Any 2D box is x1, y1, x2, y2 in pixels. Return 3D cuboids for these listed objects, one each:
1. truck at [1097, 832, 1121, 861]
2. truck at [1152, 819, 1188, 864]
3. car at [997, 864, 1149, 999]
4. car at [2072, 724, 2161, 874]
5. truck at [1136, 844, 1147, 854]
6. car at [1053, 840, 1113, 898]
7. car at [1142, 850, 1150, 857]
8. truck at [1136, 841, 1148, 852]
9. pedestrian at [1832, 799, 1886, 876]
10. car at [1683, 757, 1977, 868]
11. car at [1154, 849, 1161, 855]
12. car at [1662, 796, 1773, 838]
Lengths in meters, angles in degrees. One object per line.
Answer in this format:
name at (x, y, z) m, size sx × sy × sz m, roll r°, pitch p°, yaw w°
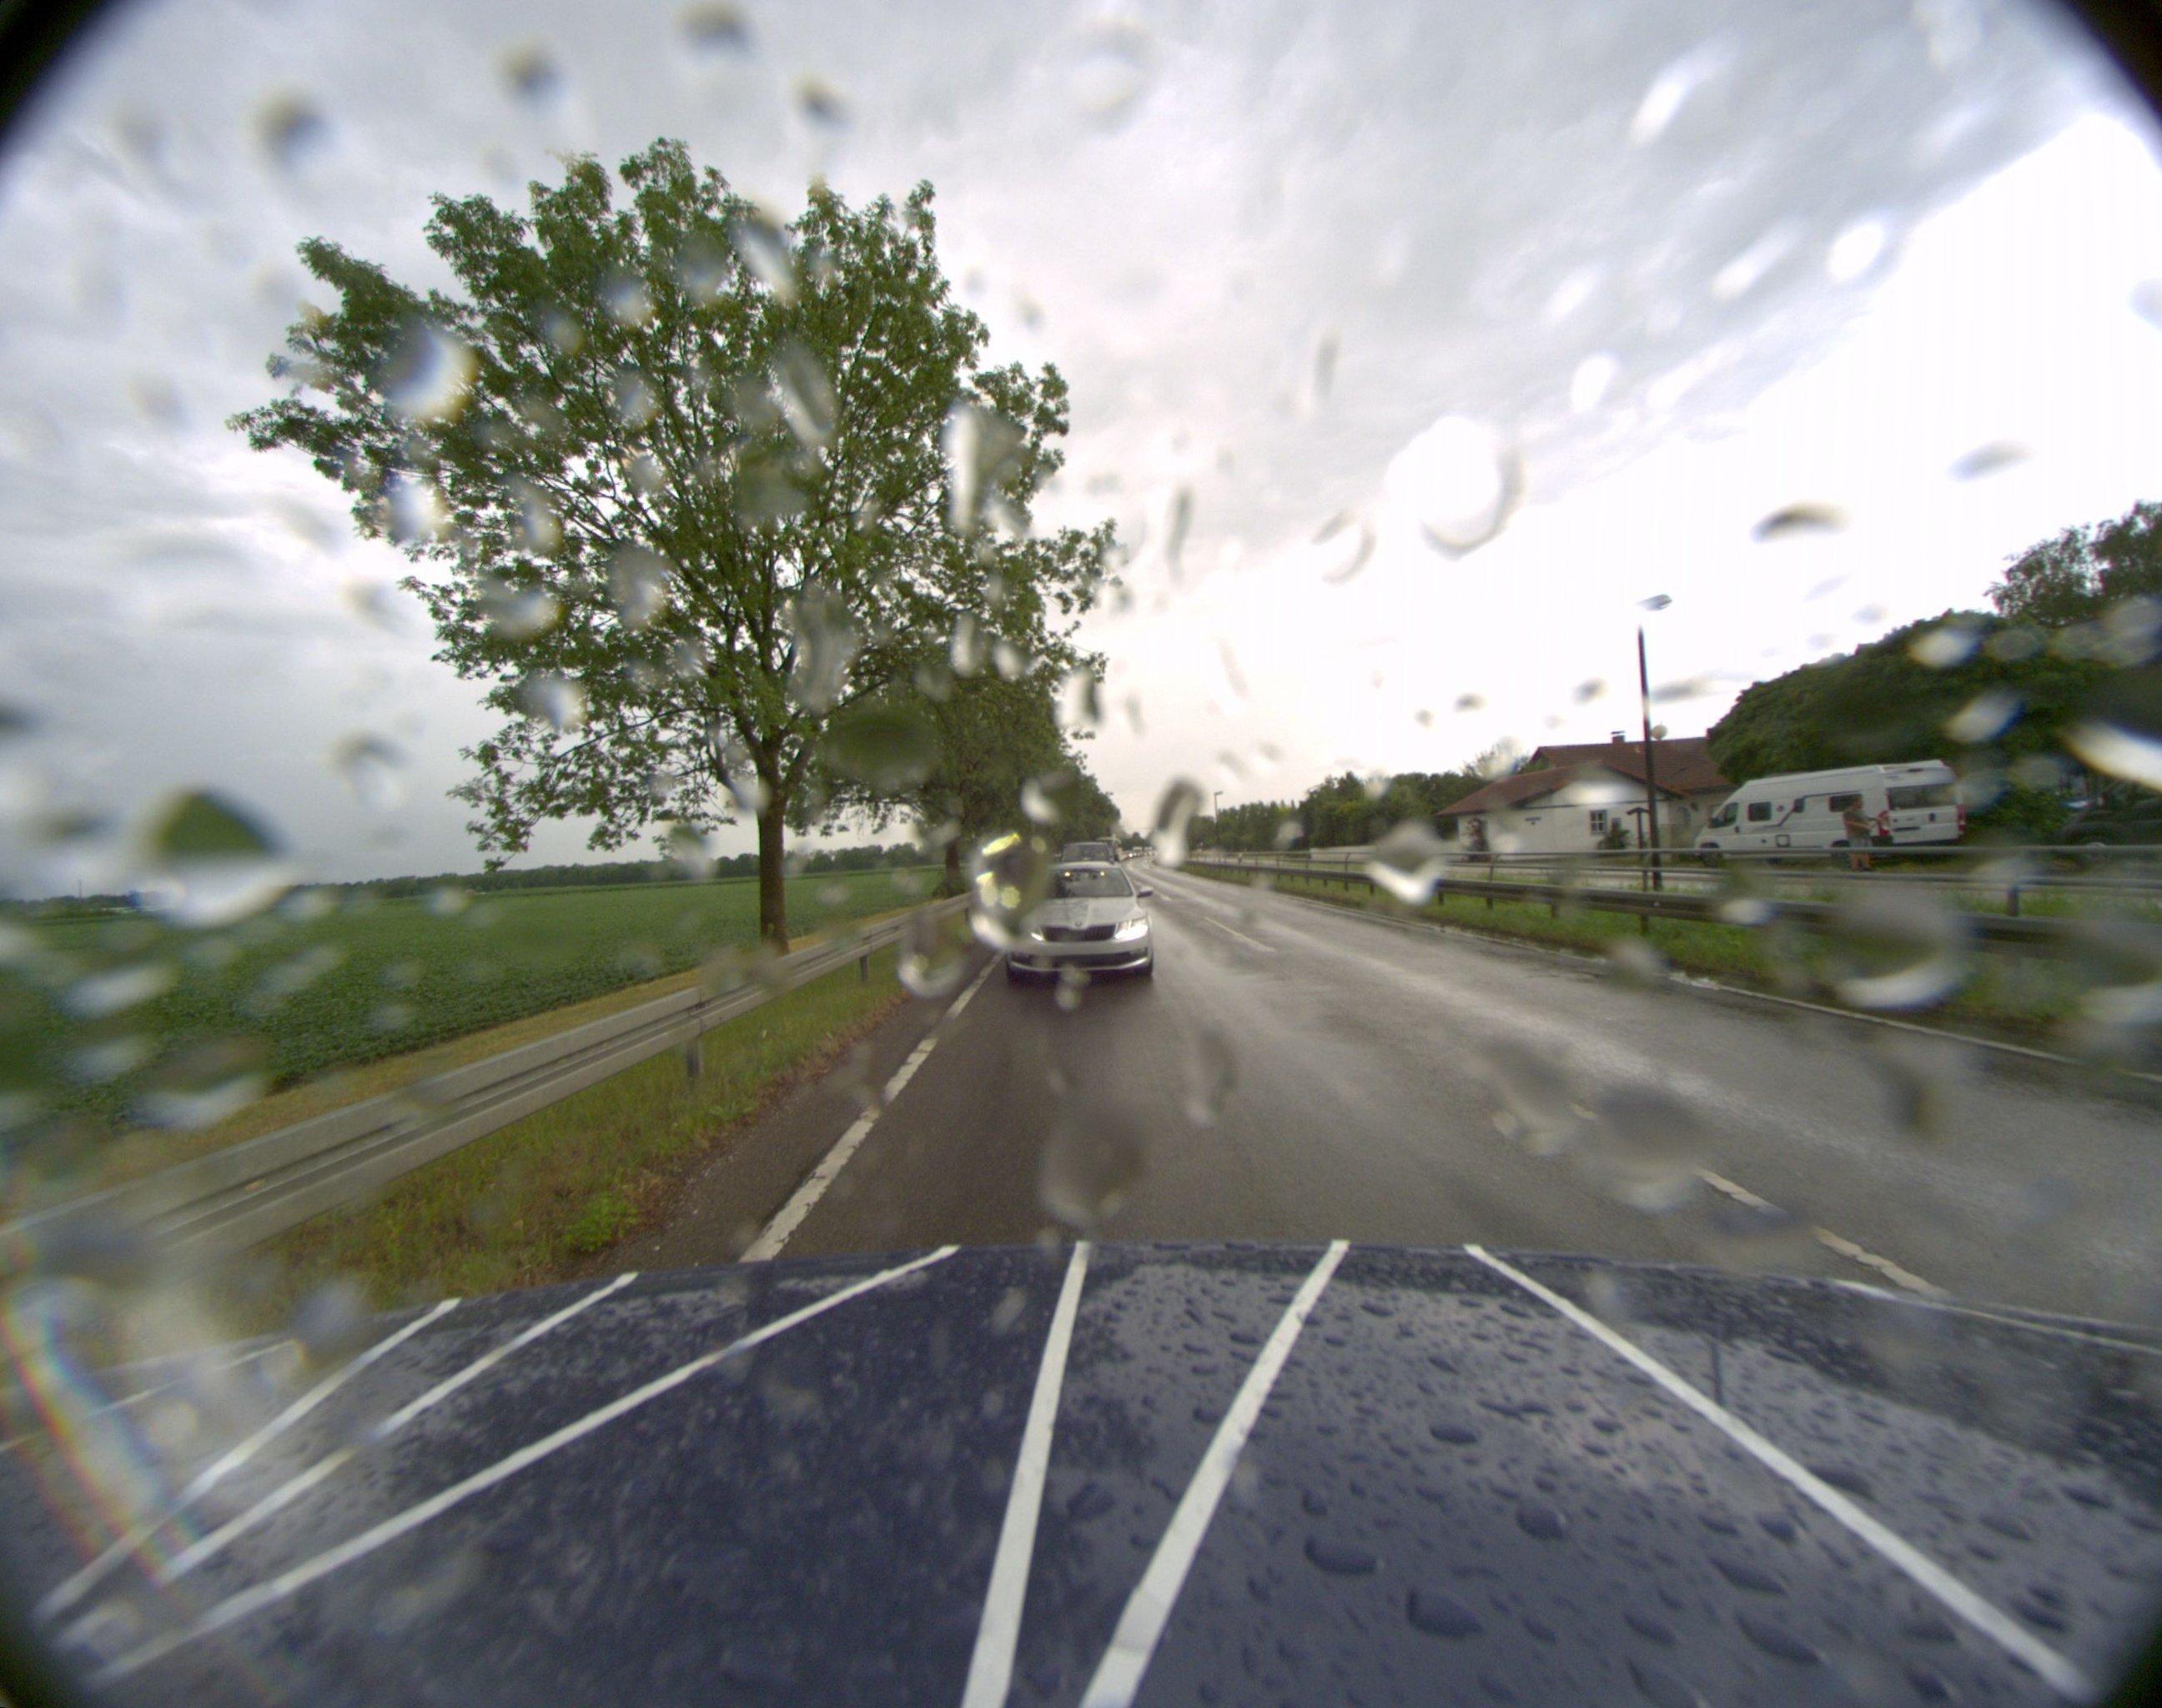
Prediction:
truck at (3.603, -0.961, 100.044) m, size 2.751 × 3.548 × 8.386 m, roll -4°, pitch 0°, yaw 1°
truck at (10.597, -1.457, 91.256) m, size 3.256 × 5.004 × 7.783 m, roll -4°, pitch 0°, yaw 1°
car at (-0.105, 0.912, 10.685) m, size 1.705 × 1.438 × 3.999 m, roll -1°, pitch 0°, yaw -1°
car at (21.002, -1.072, 12.358) m, size 2.389 × 2.747 × 5.572 m, roll -4°, pitch 0°, yaw 0°
truck at (16.864, -1.457, 211.081) m, size 2.800 × 2.461 × 7.169 m, roll -4°, pitch 0°, yaw 3°
car at (0.050, 0.482, 26.986) m, size 1.903 × 1.884 × 3.999 m, roll -1°, pitch 0°, yaw -1°
car at (19.669, -0.268, 230.471) m, size 1.998 × 2.002 × 4.099 m, roll -4°, pitch 0°, yaw 0°
truck at (15.866, -1.932, 197.100) m, size 2.800 × 2.461 × 7.169 m, roll -4°, pitch 0°, yaw 3°
pedestrian at (17.823, -0.363, 17.422) m, size 0.516 × 1.701 × 0.650 m, roll -4°, pitch 1°, yaw 8°
car at (20.592, -1.024, 21.476) m, size 2.243 × 2.565 × 6.019 m, roll -4°, pitch 0°, yaw 0°
car at (24.858, -0.639, 247.449) m, size 1.811 × 1.723 × 4.026 m, roll -4°, pitch 0°, yaw 0°
car at (24.104, -1.366, 28.921) m, size 1.452 × 1.348 × 3.270 m, roll -4°, pitch 0°, yaw 1°
